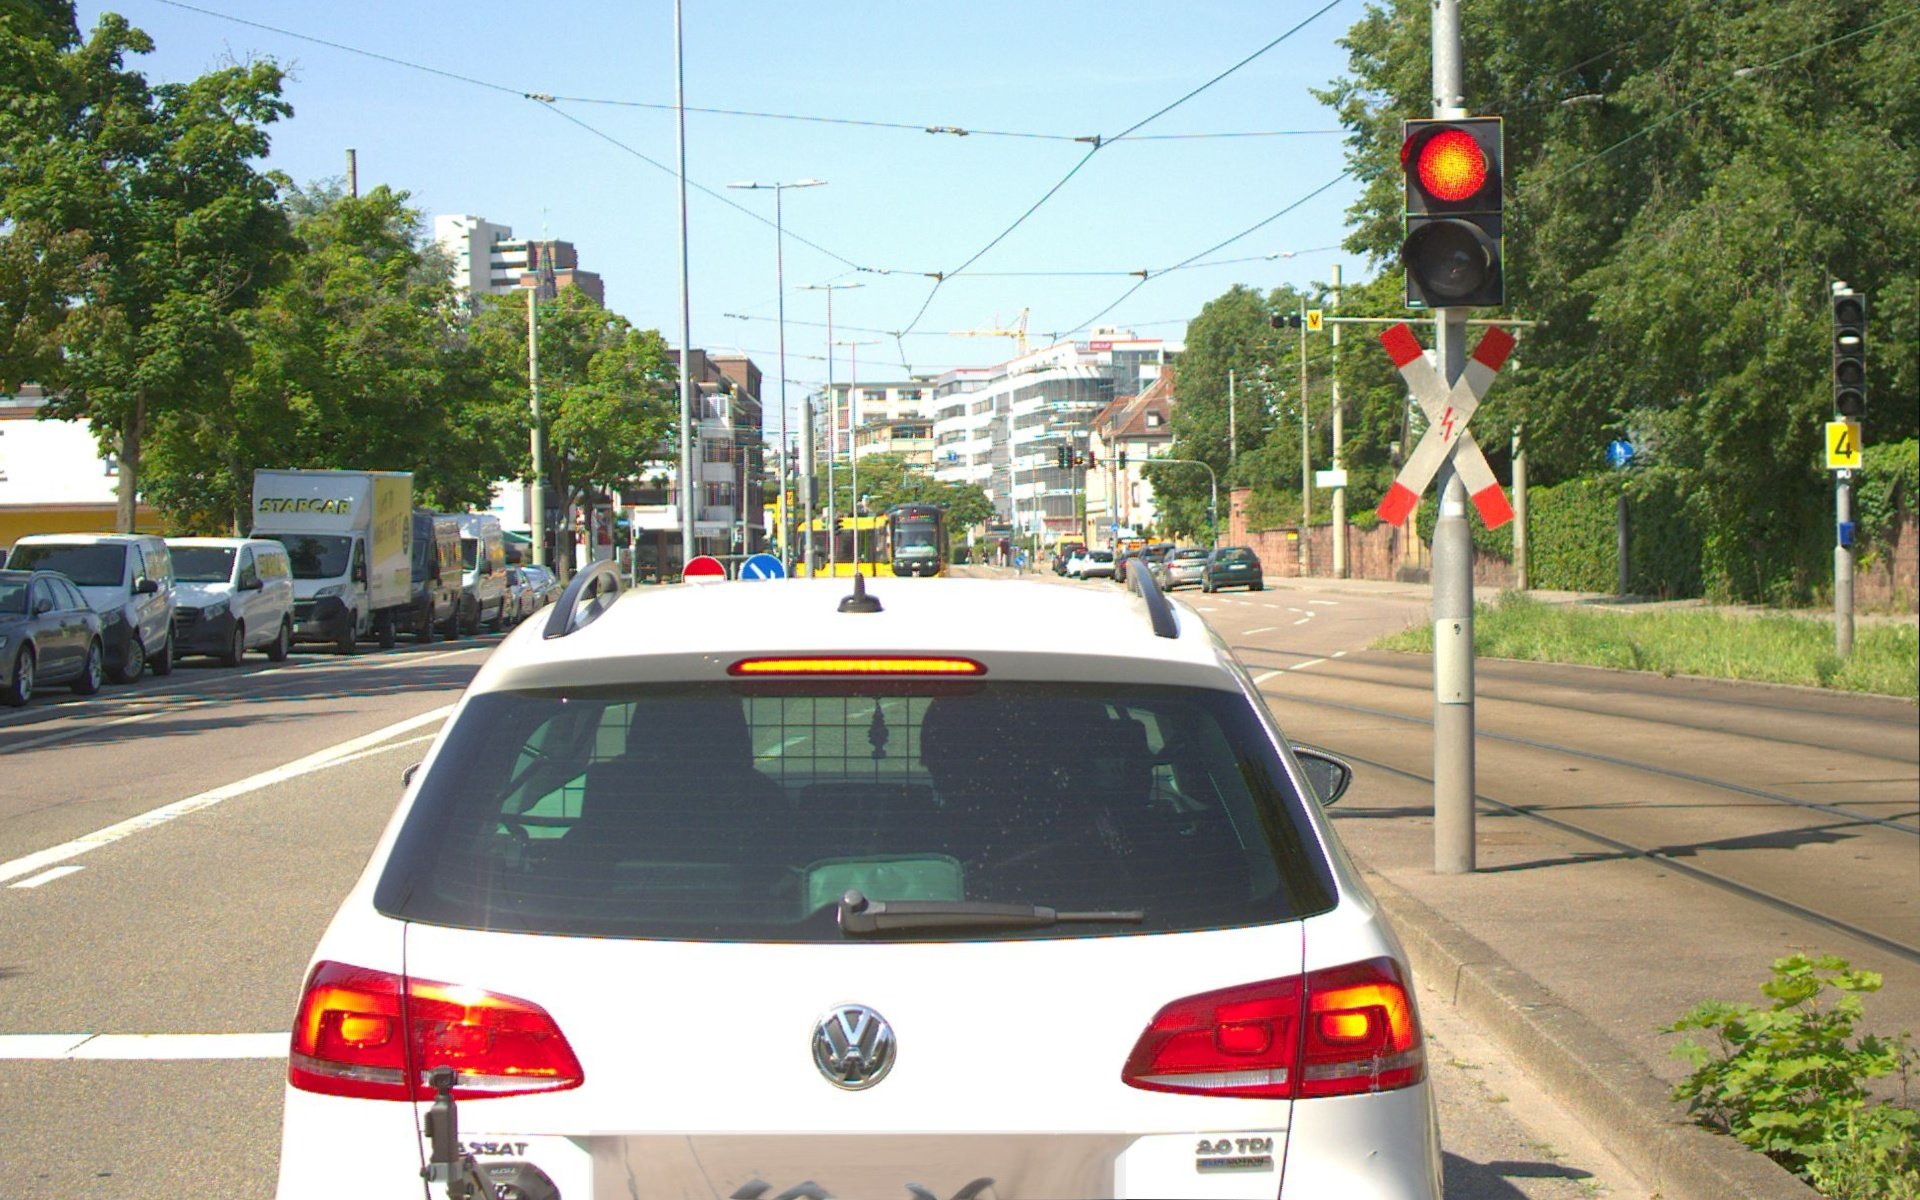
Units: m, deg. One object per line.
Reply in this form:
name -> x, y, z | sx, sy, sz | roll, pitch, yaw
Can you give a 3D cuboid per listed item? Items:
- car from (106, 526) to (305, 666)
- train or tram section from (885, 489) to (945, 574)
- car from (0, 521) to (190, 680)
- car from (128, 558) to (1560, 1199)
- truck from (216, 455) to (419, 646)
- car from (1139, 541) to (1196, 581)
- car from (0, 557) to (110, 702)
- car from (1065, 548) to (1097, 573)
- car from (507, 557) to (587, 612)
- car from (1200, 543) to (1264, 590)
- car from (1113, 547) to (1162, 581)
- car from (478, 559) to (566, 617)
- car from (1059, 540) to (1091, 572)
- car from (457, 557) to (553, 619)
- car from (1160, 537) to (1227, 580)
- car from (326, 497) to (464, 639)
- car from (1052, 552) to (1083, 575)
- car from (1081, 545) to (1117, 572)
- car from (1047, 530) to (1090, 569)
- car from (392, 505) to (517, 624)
car -> -11.318, -0.107, 51.910 | 1.843, 1.954, 5.134 | -1, 1, 0
train or tram section -> -1.777, -2.700, 139.603 | 2.301, 3.241, 11.275 | 1, 0, 0
car -> -11.484, -0.038, 45.306 | 1.843, 1.930, 5.195 | -1, 1, -4
car -> -0.197, 0.672, 6.236 | 1.768, 1.441, 3.913 | 1, 1, -1
truck -> -11.175, -0.881, 60.379 | 2.356, 3.112, 6.892 | -1, 1, -1
car -> 8.107, -1.526, 134.652 | 1.861, 1.508, 3.913 | 1, 1, -2
car -> -10.990, 0.306, 38.637 | 1.843, 1.511, 4.197 | -1, 1, -1
car -> 6.740, -2.187, 192.131 | 1.581, 1.341, 3.454 | 1, 0, -1
car -> -11.589, -0.451, 96.600 | 1.780, 1.428, 4.038 | -1, 1, -1
car -> 8.424, -1.046, 106.574 | 1.746, 1.383, 3.913 | 1, 1, 1
car -> 7.774, -1.590, 150.939 | 1.745, 1.403, 3.914 | 1, 1, -3
car -> -11.623, -0.342, 91.376 | 1.843, 1.428, 4.038 | -1, 1, -1
car -> 6.859, -2.617, 204.638 | 1.691, 1.806, 3.454 | 1, 0, -1
car -> -11.281, -0.313, 85.458 | 1.843, 1.428, 4.038 | -1, 1, -1
car -> 8.061, -1.448, 119.118 | 1.861, 1.412, 4.325 | 1, 1, -2
car -> -11.154, -0.662, 68.161 | 1.843, 2.659, 5.003 | -1, 1, 0
car -> 7.525, -2.567, 241.610 | 1.993, 1.590, 4.000 | 1, 0, 0
car -> 6.979, -2.074, 173.073 | 1.581, 1.341, 3.454 | 1, 0, -1
car -> 7.103, -3.315, 225.543 | 2.463, 2.490, 5.910 | 1, 0, -1
car -> -11.102, -0.815, 75.865 | 1.843, 2.486, 5.857 | -1, 1, 0
